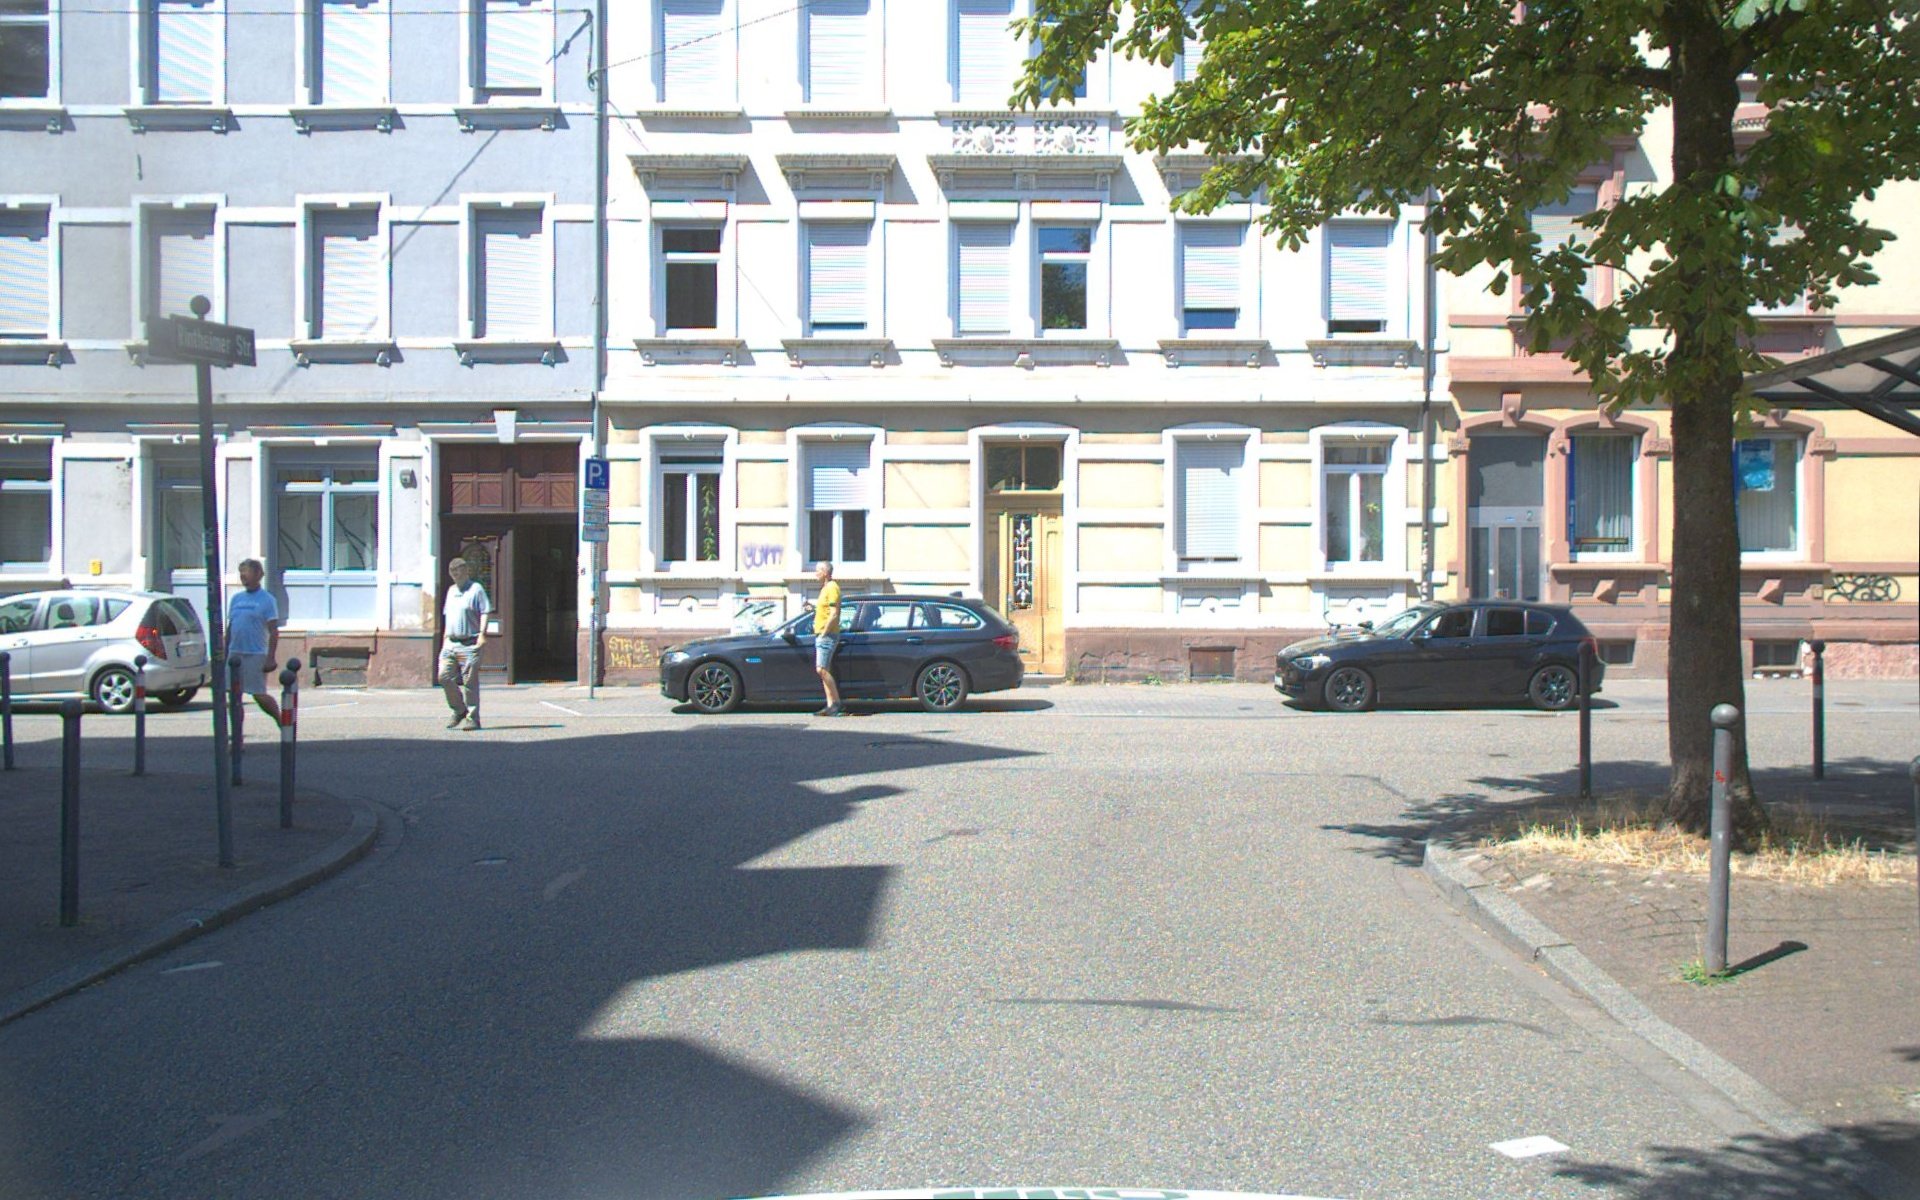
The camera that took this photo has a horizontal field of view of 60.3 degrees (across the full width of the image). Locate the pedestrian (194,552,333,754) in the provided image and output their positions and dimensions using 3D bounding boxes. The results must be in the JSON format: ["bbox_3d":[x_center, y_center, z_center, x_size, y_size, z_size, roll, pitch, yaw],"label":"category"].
[{"bbox_3d":[-6.859,0.508,16.315,0.832,1.922,0.935,-1,0,22],"label":"pedestrian"}]

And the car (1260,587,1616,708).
[{"bbox_3d":[6.241,0.598,21.907,4.206,1.394,1.807,-1,2,0],"label":"car"}]

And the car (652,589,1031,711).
[{"bbox_3d":[-1.480,0.637,21.853,4.759,1.462,2.000,-1,0,0],"label":"car"}]

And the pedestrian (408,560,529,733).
[{"bbox_3d":[-5.409,0.506,18.229,0.882,1.846,0.961,-1,0,16],"label":"pedestrian"}]

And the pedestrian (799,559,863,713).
[{"bbox_3d":[-1.601,0.443,20.613,0.709,1.886,0.685,-1,0,1],"label":"pedestrian"}]

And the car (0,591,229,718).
[{"bbox_3d":[-12.208,0.718,22.205,3.964,1.589,1.807,-1,0,-1],"label":"car"}]
